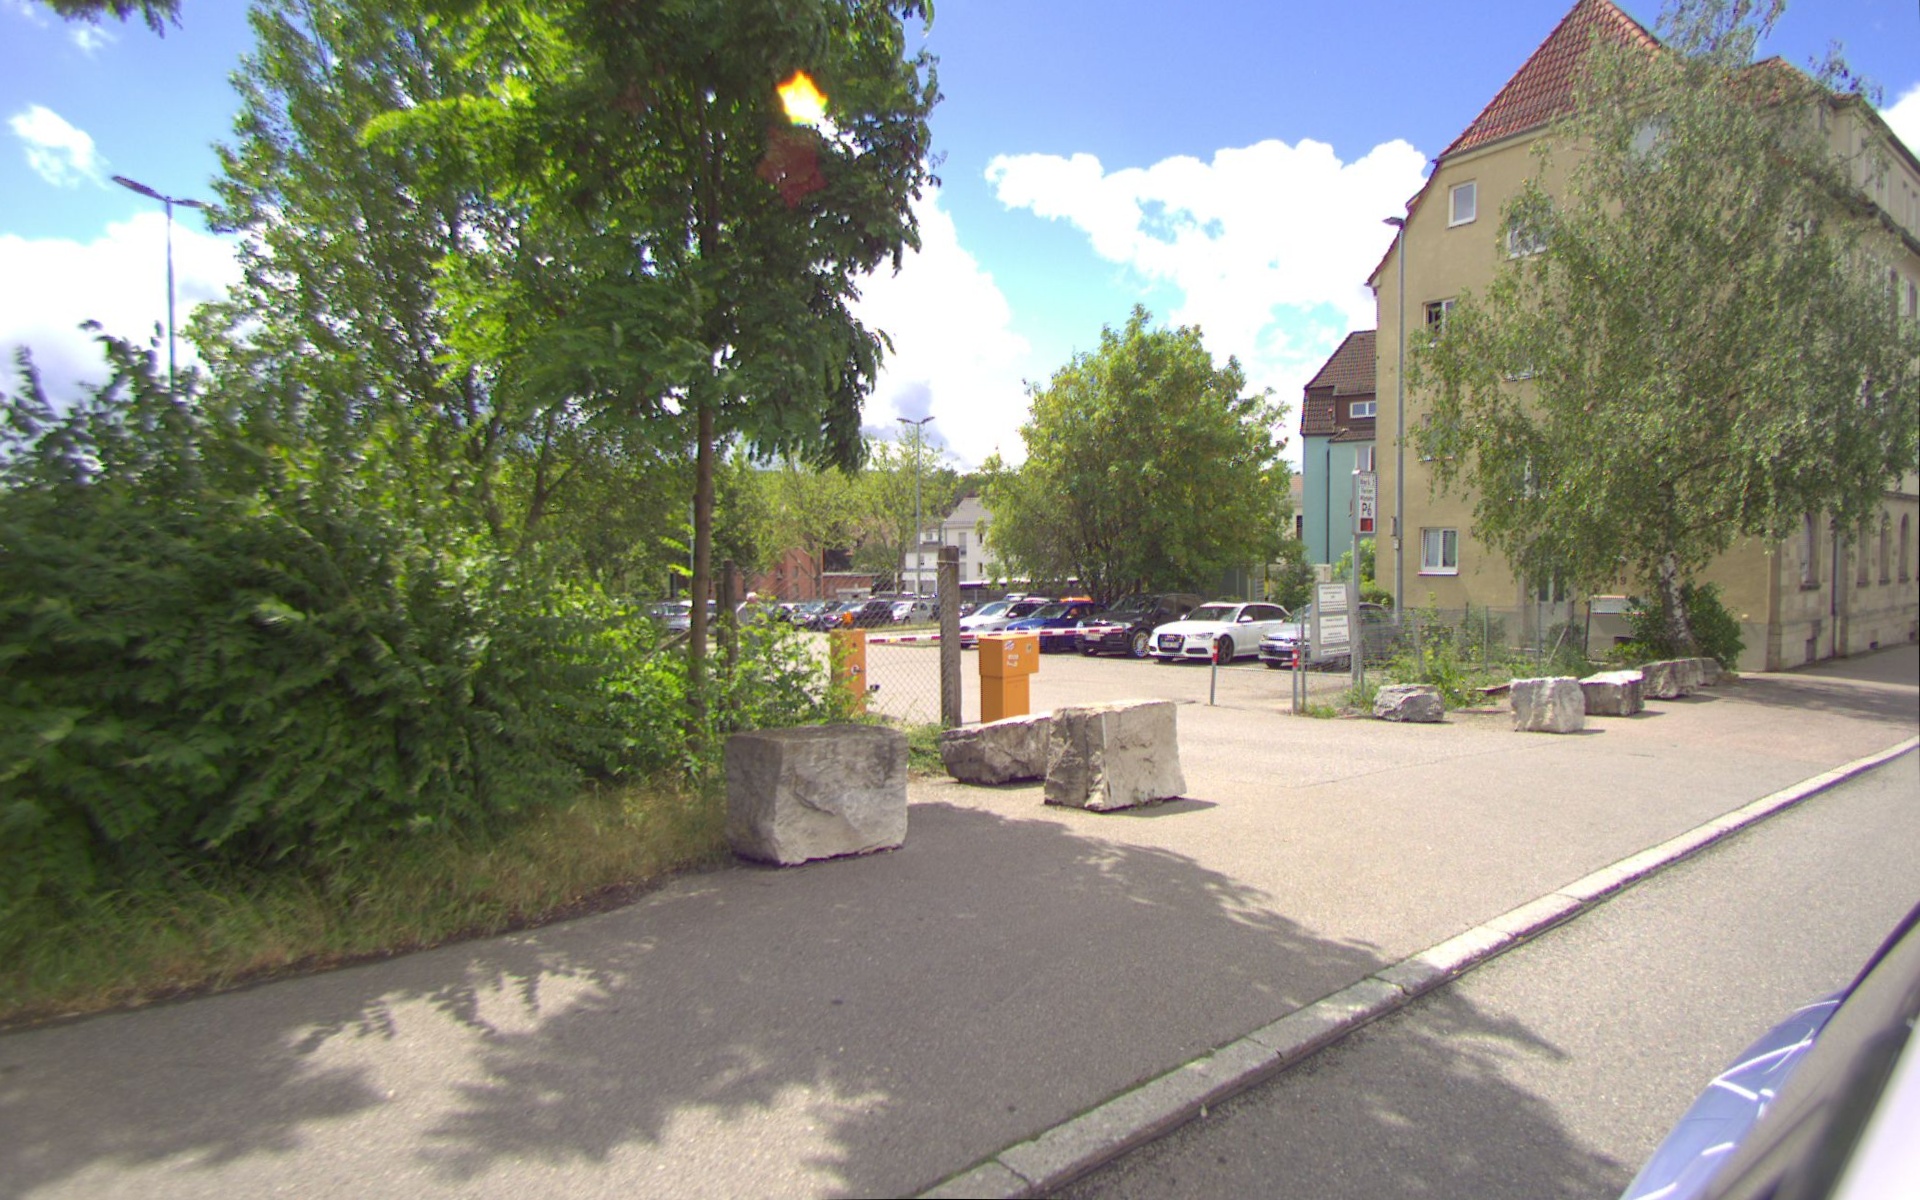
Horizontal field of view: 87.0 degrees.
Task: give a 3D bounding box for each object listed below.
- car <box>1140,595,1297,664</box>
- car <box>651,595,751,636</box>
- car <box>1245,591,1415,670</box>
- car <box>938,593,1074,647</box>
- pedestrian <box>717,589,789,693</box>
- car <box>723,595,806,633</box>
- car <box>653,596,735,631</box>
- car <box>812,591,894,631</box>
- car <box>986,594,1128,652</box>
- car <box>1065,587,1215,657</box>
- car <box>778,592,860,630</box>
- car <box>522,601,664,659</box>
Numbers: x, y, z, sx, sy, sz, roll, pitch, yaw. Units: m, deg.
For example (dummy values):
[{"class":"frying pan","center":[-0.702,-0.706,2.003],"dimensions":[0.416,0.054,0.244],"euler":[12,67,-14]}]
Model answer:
[{"class":"car","center":[6.376,0.647,24.703],"dimensions":[1.870,1.469,4.214],"euler":[1,1,44]},{"class":"car","center":[-10.041,0.585,39.468],"dimensions":[1.852,1.404,3.687],"euler":[0,2,25]},{"class":"car","center":[8.271,0.633,22.472],"dimensions":[4.072,1.408,1.718],"euler":[-4,1,-41]},{"class":"car","center":[1.462,0.568,31.044],"dimensions":[1.870,1.468,4.214],"euler":[1,1,44]},{"class":"pedestrian","center":[-3.605,0.702,17.678],"dimensions":[0.805,1.718,0.875],"euler":[-3,0,21]},{"class":"car","center":[-9.767,0.665,50.923],"dimensions":[1.854,1.690,4.310],"euler":[0,2,27]},{"class":"car","center":[-14.145,0.687,54.102],"dimensions":[1.854,1.690,4.310],"euler":[0,2,27]},{"class":"car","center":[-5.029,0.483,48.165],"dimensions":[1.854,1.690,4.310],"euler":[0,2,27]},{"class":"car","center":[2.854,0.600,29.118],"dimensions":[1.870,1.468,4.214],"euler":[1,1,44]},{"class":"car","center":[4.816,0.502,26.718],"dimensions":[1.870,1.644,4.214],"euler":[1,1,44]},{"class":"car","center":[-6.939,0.508,50.249],"dimensions":[1.854,1.690,4.310],"euler":[0,2,27]},{"class":"car","center":[-12.392,0.948,34.412],"dimensions":[1.858,1.690,4.300],"euler":[0,2,33]}]
